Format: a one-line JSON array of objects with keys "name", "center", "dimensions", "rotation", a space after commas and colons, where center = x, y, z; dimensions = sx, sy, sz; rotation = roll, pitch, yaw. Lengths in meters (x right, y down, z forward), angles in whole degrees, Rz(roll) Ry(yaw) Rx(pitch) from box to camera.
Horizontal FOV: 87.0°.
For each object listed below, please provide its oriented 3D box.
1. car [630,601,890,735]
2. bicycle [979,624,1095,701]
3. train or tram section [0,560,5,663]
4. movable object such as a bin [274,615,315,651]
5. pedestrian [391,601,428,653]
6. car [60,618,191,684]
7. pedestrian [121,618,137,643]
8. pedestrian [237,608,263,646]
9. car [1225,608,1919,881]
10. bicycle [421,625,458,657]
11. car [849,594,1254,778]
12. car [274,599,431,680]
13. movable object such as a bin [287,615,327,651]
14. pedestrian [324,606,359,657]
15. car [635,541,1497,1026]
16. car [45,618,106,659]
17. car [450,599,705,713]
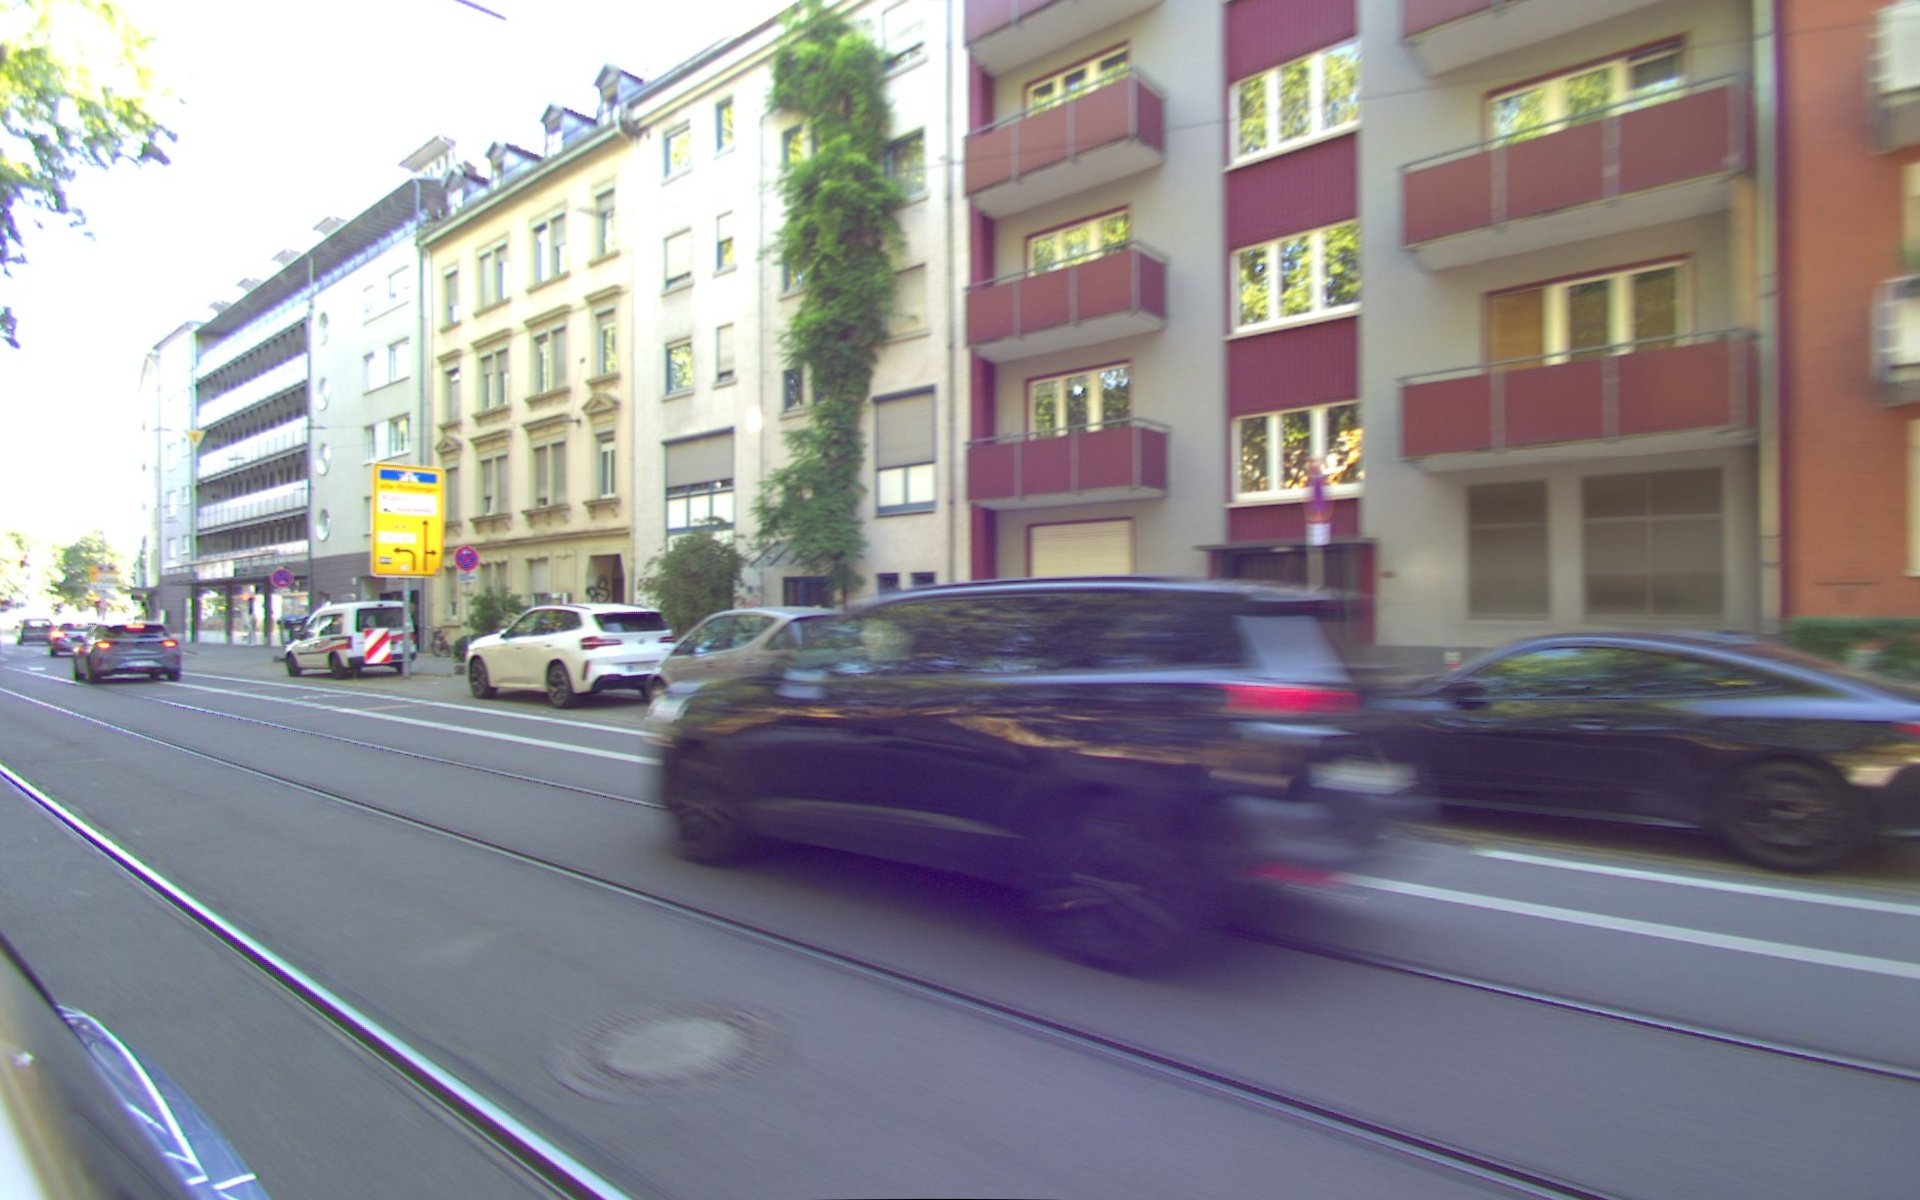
[{"name": "car", "center": [-2.878, 0.840, 14.145], "dimensions": [3.780, 1.583, 1.609], "rotation": [0, 1, 42]}, {"name": "bicycle", "center": [1.326, 0.994, 16.837], "dimensions": [0.698, 1.070, 2.428], "rotation": [-1, 1, 37]}, {"name": "train or tram section", "center": [-39.048, 0.483, 38.195], "dimensions": [14.188, 3.512, 2.879], "rotation": [-1, -1, 41]}, {"name": "movable object such as a bin", "center": [-27.982, 1.386, 42.559], "dimensions": [1.212, 1.461, 1.129], "rotation": [-1, -1, 36]}, {"name": "pedestrian", "center": [-20.261, 0.989, 37.229], "dimensions": [0.729, 1.827, 0.953], "rotation": [-1, 1, 41]}, {"name": "car", "center": [-20.155, 1.186, 24.396], "dimensions": [4.050, 1.457, 1.777], "rotation": [-1, -2, 41]}, {"name": "pedestrian", "center": [-58.262, 2.138, 70.958], "dimensions": [0.705, 1.686, 0.907], "rotation": [0, -1, -27]}, {"name": "pedestrian", "center": [-34.090, 1.288, 48.592], "dimensions": [0.819, 1.726, 0.779], "rotation": [-1, 2, 40]}, {"name": "car", "center": [4.641, 0.824, 7.411], "dimensions": [4.861, 1.405, 1.932], "rotation": [-1, 2, 42]}, {"name": "bicycle", "center": [-16.975, 1.331, 32.988], "dimensions": [0.639, 0.978, 2.142], "rotation": [-2, 0, -39]}, {"name": "car", "center": [0.877, 0.781, 10.875], "dimensions": [4.000, 1.599, 1.802], "rotation": [-1, 0, 39]}, {"name": "car", "center": [-15.002, 0.927, 24.910], "dimensions": [4.464, 1.784, 1.772], "rotation": [-1, 0, 38]}, {"name": "movable object such as a bin", "center": [-26.984, 1.348, 41.836], "dimensions": [1.208, 1.461, 1.047], "rotation": [-1, -1, 36]}, {"name": "pedestrian", "center": [-22.312, 1.118, 36.517], "dimensions": [0.735, 1.798, 0.856], "rotation": [-1, 1, 39]}, {"name": "car", "center": [0.257, 0.654, 5.547], "dimensions": [4.461, 1.612, 1.834], "rotation": [-1, -2, 41]}, {"name": "car", "center": [-36.563, 1.544, 41.808], "dimensions": [1.774, 1.456, 4.722], "rotation": [1, 0, -42]}, {"name": "car", "center": [-6.682, 0.848, 17.422], "dimensions": [4.877, 1.661, 1.933], "rotation": [0, 1, 40]}]
